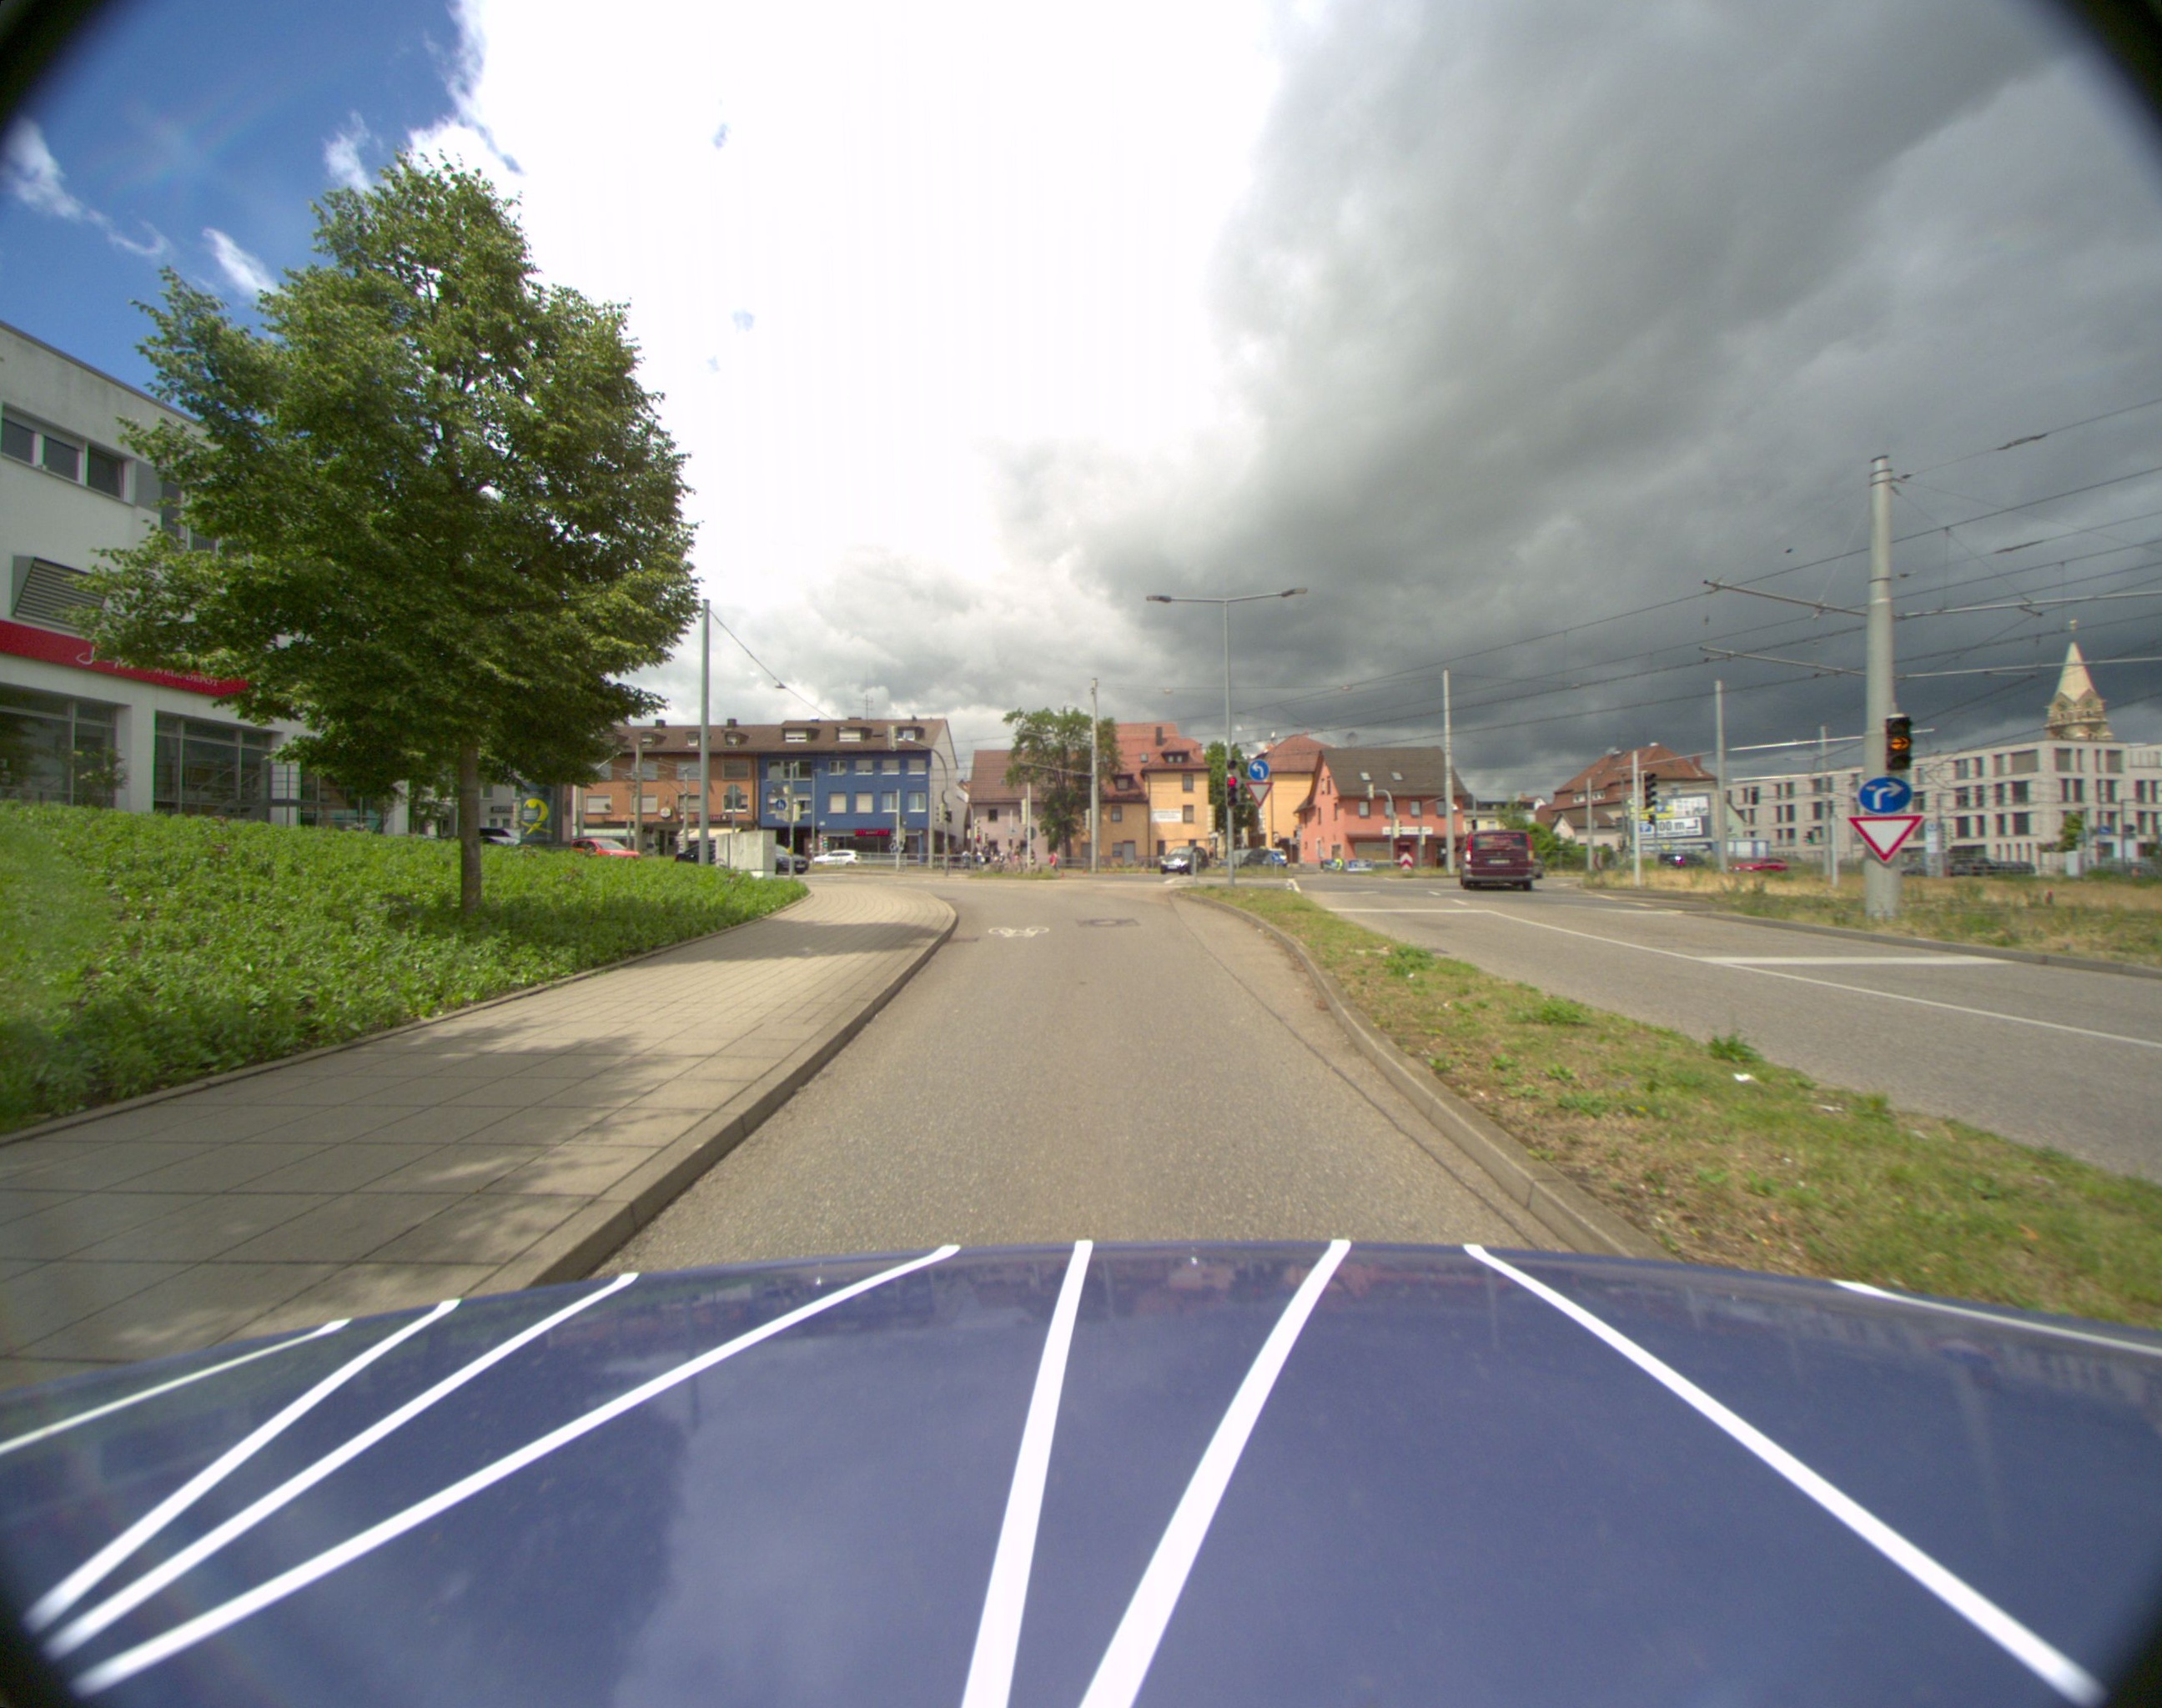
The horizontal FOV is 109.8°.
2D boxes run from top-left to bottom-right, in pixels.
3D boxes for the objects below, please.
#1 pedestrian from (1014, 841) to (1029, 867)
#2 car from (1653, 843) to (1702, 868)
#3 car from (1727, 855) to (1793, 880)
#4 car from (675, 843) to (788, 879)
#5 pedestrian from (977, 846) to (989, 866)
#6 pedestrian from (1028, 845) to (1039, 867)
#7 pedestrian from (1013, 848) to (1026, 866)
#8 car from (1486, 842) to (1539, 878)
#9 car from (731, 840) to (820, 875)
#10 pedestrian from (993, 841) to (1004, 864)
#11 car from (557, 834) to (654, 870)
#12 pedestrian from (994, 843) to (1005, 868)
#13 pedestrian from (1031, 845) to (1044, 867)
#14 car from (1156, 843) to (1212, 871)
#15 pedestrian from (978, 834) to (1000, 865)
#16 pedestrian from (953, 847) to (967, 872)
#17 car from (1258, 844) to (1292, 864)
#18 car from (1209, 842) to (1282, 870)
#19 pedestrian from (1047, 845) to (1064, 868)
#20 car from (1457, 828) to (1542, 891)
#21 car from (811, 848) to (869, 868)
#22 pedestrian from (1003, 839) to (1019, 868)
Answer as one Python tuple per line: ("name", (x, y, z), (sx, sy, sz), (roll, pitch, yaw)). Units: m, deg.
("pedestrian", (-3.810, 0.017, 48.465), (0.892, 1.642, 0.825), (0, 0, -10))
("car", (38.959, 0.058, 49.618), (4.305, 1.571, 1.806), (-1, 1, -42))
("car", (54.940, 1.084, 61.519), (4.001, 2.001, 1.998), (0, -1, -13))
("car", (-15.016, 0.279, 32.628), (4.313, 1.456, 2.056), (0, 1, 24))
("pedestrian", (-6.788, 0.162, 52.592), (0.675, 1.367, 0.635), (0, 0, 2))
("pedestrian", (-3.211, 0.135, 51.366), (0.587, 1.518, 0.675), (1, -1, -11))
("pedestrian", (-4.015, 0.179, 49.331), (0.676, 1.160, 0.586), (0, 0, -29))
("car", (18.938, 0.185, 33.225), (1.798, 1.402, 5.062), (1, 2, 32))
("car", (-14.468, 0.118, 35.906), (4.082, 1.430, 1.743), (3, 3, 29))
("pedestrian", (-5.457, -0.098, 50.231), (0.675, 1.556, 0.586), (0, 1, -14))
("car", (-22.752, -0.063, 36.357), (3.990, 1.632, 2.004), (-1, 0, 24))
("pedestrian", (-5.560, 0.097, 51.956), (0.675, 1.740, 0.587), (0, 1, -10))
("pedestrian", (-3.000, 0.129, 52.195), (0.543, 1.461, 0.777), (0, 1, -42))
("car", (5.610, 0.215, 41.154), (1.879, 1.420, 4.008), (-1, -2, 25))
("pedestrian", (-5.648, -0.281, 46.808), (0.970, 1.830, 0.823), (3, -1, -43))
("pedestrian", (-8.176, 0.370, 51.403), (0.754, 1.740, 0.586), (0, 0, -29))
("car", (19.069, 0.002, 74.788), (2.080, 1.886, 4.662), (-1, 0, 0))
("car", (10.172, 0.165, 46.842), (4.429, 1.639, 1.995), (1, -2, -38))
("pedestrian", (-1.684, 0.190, 49.465), (0.856, 1.472, 0.740), (0, 0, -29))
("car", (13.321, 0.097, 24.477), (1.995, 1.812, 5.079), (0, 1, 24))
("car", (-18.944, 0.298, 59.737), (3.997, 1.522, 1.713), (0, -1, 1))
("pedestrian", (-4.357, -0.030, 47.486), (0.694, 1.739, 0.750), (0, 0, -34))
